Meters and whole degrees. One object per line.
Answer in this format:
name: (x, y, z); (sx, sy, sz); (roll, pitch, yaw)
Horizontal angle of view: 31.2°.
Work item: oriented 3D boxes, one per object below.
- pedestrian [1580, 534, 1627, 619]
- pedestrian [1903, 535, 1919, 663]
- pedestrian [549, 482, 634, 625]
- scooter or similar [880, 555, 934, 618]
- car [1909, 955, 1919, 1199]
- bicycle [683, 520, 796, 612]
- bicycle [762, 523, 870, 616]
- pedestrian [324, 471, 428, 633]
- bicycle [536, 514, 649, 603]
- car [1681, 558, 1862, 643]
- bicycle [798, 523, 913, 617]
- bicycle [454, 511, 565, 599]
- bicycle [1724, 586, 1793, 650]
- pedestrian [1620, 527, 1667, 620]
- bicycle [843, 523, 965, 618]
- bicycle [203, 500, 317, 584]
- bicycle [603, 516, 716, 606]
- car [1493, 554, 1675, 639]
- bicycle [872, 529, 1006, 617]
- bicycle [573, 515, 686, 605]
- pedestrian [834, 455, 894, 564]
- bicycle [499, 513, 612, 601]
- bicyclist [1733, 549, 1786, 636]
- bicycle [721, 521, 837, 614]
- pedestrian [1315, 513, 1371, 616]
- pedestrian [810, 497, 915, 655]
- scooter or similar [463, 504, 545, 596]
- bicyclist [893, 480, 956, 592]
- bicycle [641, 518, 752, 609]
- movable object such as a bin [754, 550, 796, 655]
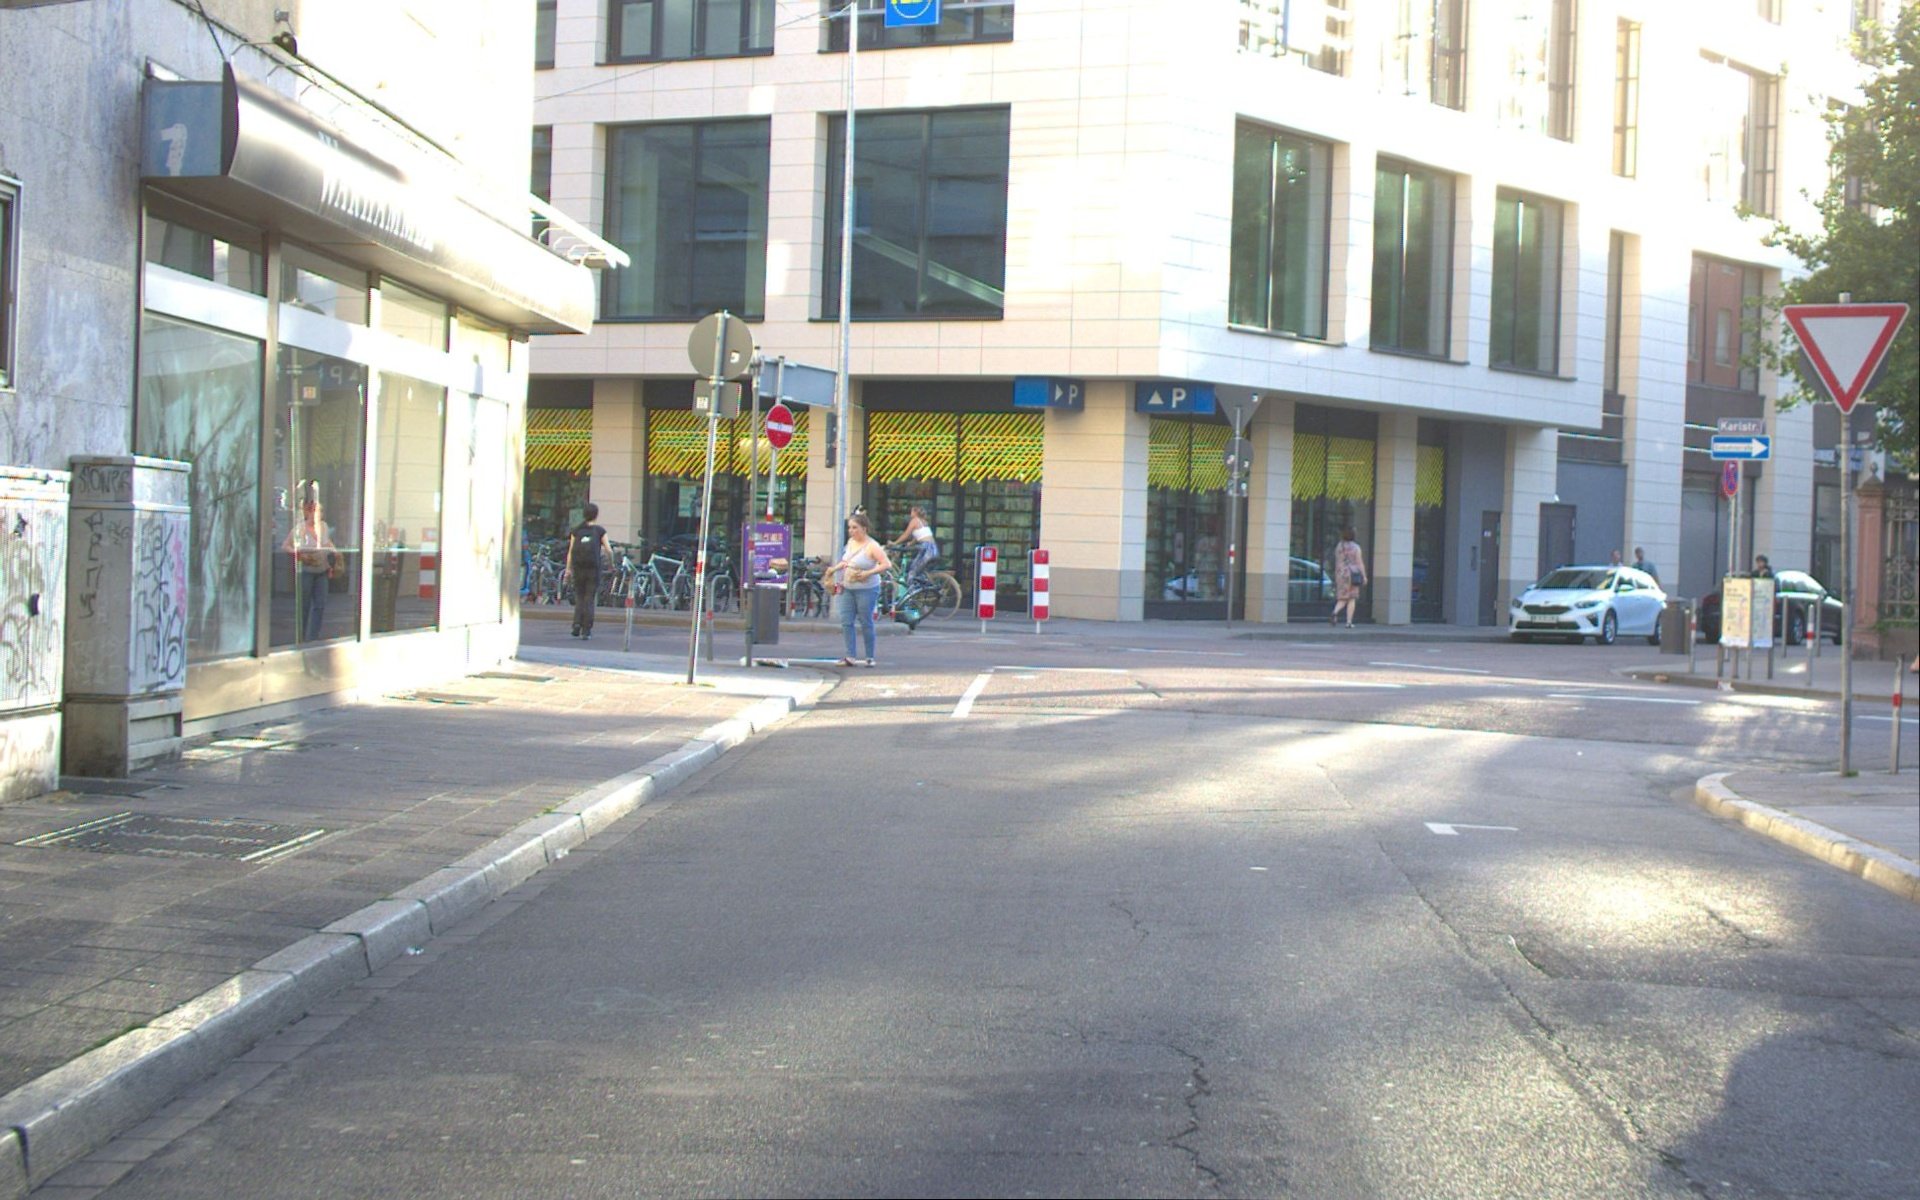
pedestrian: (12.996, -0.476, 69.421); (0.673, 1.669, 0.646); (3, 1, 31)
pedestrian: (12.869, -0.009, 45.403); (0.704, 1.664, 0.642); (3, 2, 19)
pedestrian: (-4.398, -0.556, 40.990); (0.869, 1.652, 0.619); (2, 1, -14)
scooter or similar: (-0.759, -0.192, 49.546); (0.387, 0.881, 0.768); (3, 1, 31)
car: (2.838, 0.587, 4.169); (1.993, 1.777, 4.935); (2, 1, 1)
bicycle: (-3.157, -0.482, 49.366); (0.512, 1.250, 1.975); (3, 1, 31)
bicycle: (-2.027, -0.425, 48.573); (0.512, 1.250, 1.975); (3, 1, 29)
pedestrian: (-5.952, -0.491, 35.059); (0.733, 1.607, 0.804); (2, 1, 13)
bicycle: (-5.430, -0.601, 50.859); (0.512, 1.250, 1.975); (3, 1, 31)
car: (16.419, 0.020, 69.386); (1.887, 1.592, 4.679); (3, 1, 35)
bicycle: (-1.454, -0.408, 48.287); (0.582, 1.250, 2.041); (3, 1, 29)
bicycle: (-6.770, -0.669, 51.730); (0.512, 1.250, 1.975); (3, 1, 30)
bicycle: (14.745, 0.339, 63.441); (0.665, 1.134, 1.818); (3, 1, 31)
pedestrian: (13.707, -0.525, 68.929); (0.673, 1.830, 0.646); (3, 1, 31)
bicycle: (-0.770, -0.397, 47.935); (0.665, 1.250, 2.137); (3, 1, 29)
bicycle: (-11.077, -0.907, 54.467); (0.512, 1.250, 1.975); (3, 1, 31)
bicycle: (-4.375, -0.562, 50.120); (0.512, 1.250, 1.975); (3, 1, 31)
car: (11.258, -0.051, 61.870); (1.780, 1.448, 4.223); (-1, -1, 32)
bicycle: (-0.326, -0.411, 52.697); (1.976, 1.250, 0.611); (3, 1, 32)
bicycle: (-4.840, -0.583, 50.452); (0.512, 1.250, 1.975); (3, 1, 31)
pedestrian: (-1.545, -1.451, 55.270); (0.635, 1.717, 0.846); (2, 1, -22)
bicycle: (-6.031, -0.636, 51.337); (0.512, 1.250, 1.975); (3, 1, 31)
bicyclist: (14.739, -0.133, 63.372); (0.659, 1.565, 0.862); (3, 1, 31)
bicycle: (-2.566, -0.457, 48.886); (0.513, 1.250, 1.975); (3, 1, 33)
pedestrian: (6.553, -0.609, 58.843); (0.673, 1.738, 0.646); (3, 1, 33)
pedestrian: (-1.022, -0.253, 35.906); (0.802, 1.607, 0.735); (2, 1, -27)
scooter or similar: (-6.450, -0.706, 48.682); (0.387, 1.256, 1.268); (3, 1, 31)
bicyclist: (-0.544, -0.980, 52.768); (0.643, 1.689, 0.683); (3, 1, 33)
bicycle: (-3.805, -0.525, 49.811); (0.512, 1.250, 1.975); (3, 1, 30)
movable object such as a bin: (-1.891, 0.023, 35.141); (0.359, 1.060, 0.356); (2, 1, -8)
